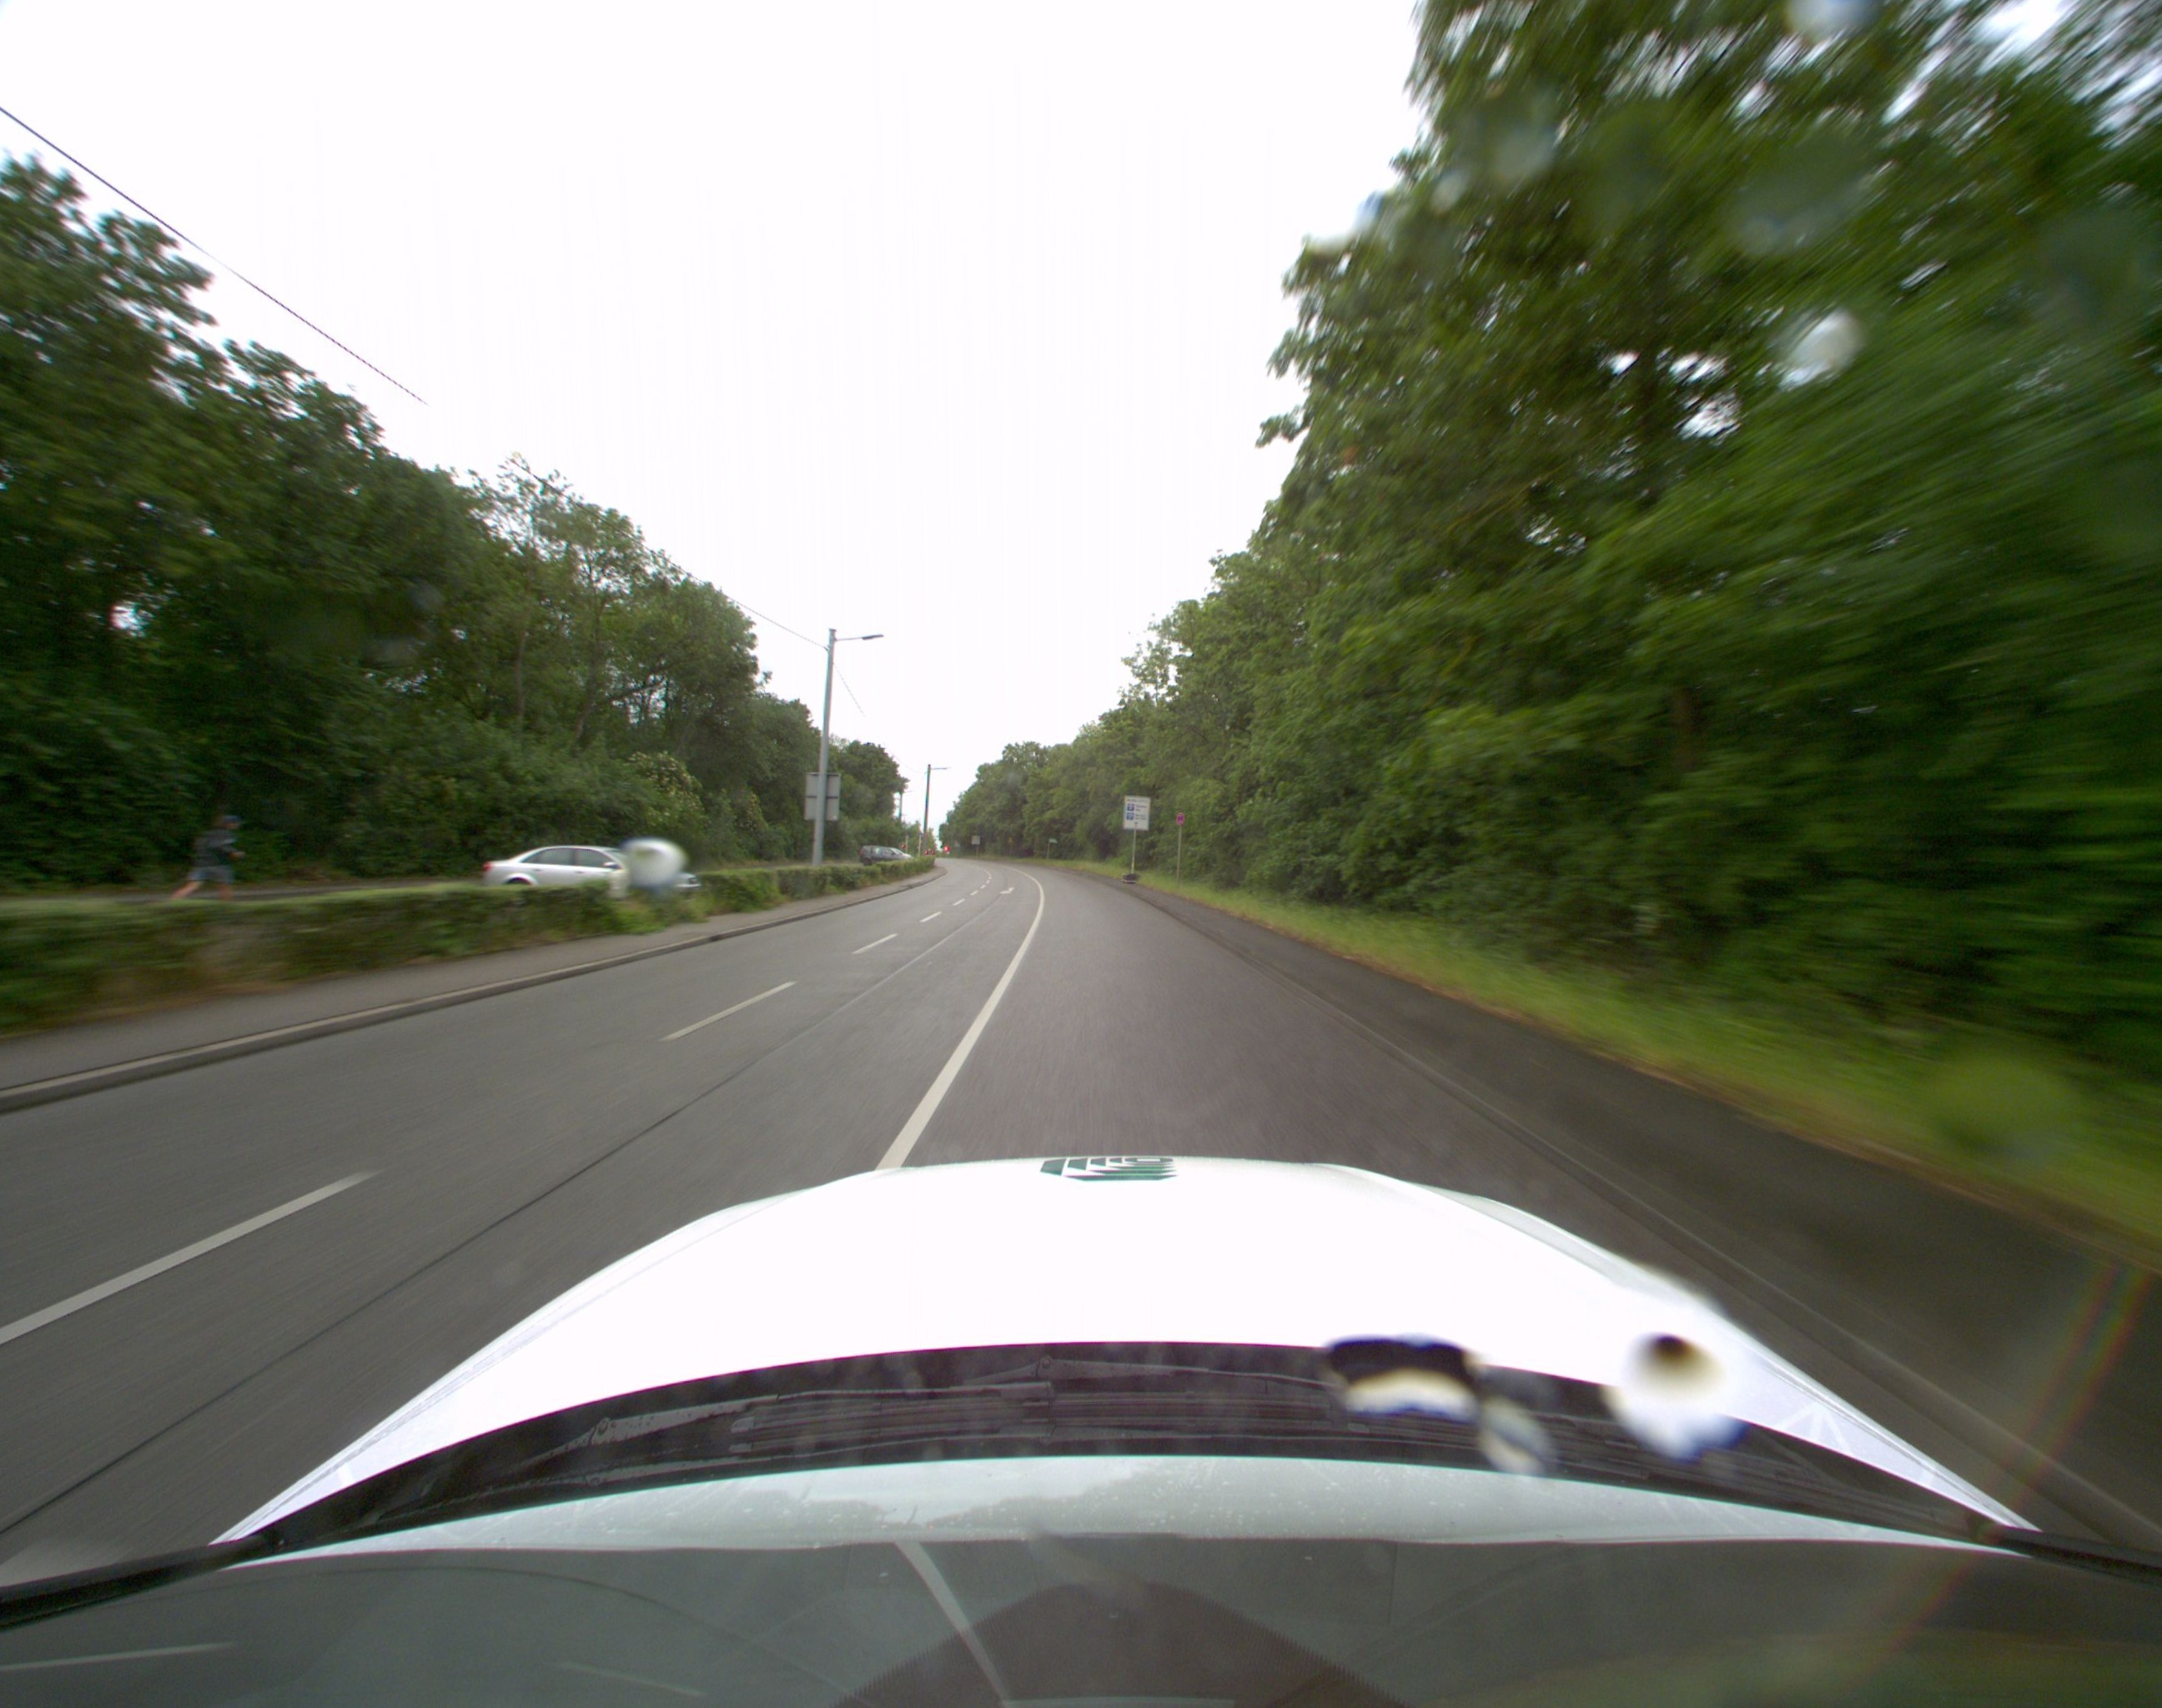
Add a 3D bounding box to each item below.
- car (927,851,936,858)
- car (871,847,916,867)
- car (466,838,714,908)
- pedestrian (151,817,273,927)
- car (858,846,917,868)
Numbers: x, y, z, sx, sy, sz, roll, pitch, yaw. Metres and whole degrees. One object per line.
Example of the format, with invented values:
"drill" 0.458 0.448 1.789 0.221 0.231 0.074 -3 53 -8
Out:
"car" -32.072 0.071 174.846 1.936 1.498 4.302 1 0 -11
"car" -16.318 0.269 71.041 3.647 1.591 1.844 1 0 -12
"car" -11.466 0.443 19.347 4.572 1.506 1.995 1 0 -8
"pedestrian" -14.898 0.295 13.995 0.813 1.797 1.137 1 0 5
"car" -15.539 0.228 65.453 4.283 1.708 1.997 1 0 -5
